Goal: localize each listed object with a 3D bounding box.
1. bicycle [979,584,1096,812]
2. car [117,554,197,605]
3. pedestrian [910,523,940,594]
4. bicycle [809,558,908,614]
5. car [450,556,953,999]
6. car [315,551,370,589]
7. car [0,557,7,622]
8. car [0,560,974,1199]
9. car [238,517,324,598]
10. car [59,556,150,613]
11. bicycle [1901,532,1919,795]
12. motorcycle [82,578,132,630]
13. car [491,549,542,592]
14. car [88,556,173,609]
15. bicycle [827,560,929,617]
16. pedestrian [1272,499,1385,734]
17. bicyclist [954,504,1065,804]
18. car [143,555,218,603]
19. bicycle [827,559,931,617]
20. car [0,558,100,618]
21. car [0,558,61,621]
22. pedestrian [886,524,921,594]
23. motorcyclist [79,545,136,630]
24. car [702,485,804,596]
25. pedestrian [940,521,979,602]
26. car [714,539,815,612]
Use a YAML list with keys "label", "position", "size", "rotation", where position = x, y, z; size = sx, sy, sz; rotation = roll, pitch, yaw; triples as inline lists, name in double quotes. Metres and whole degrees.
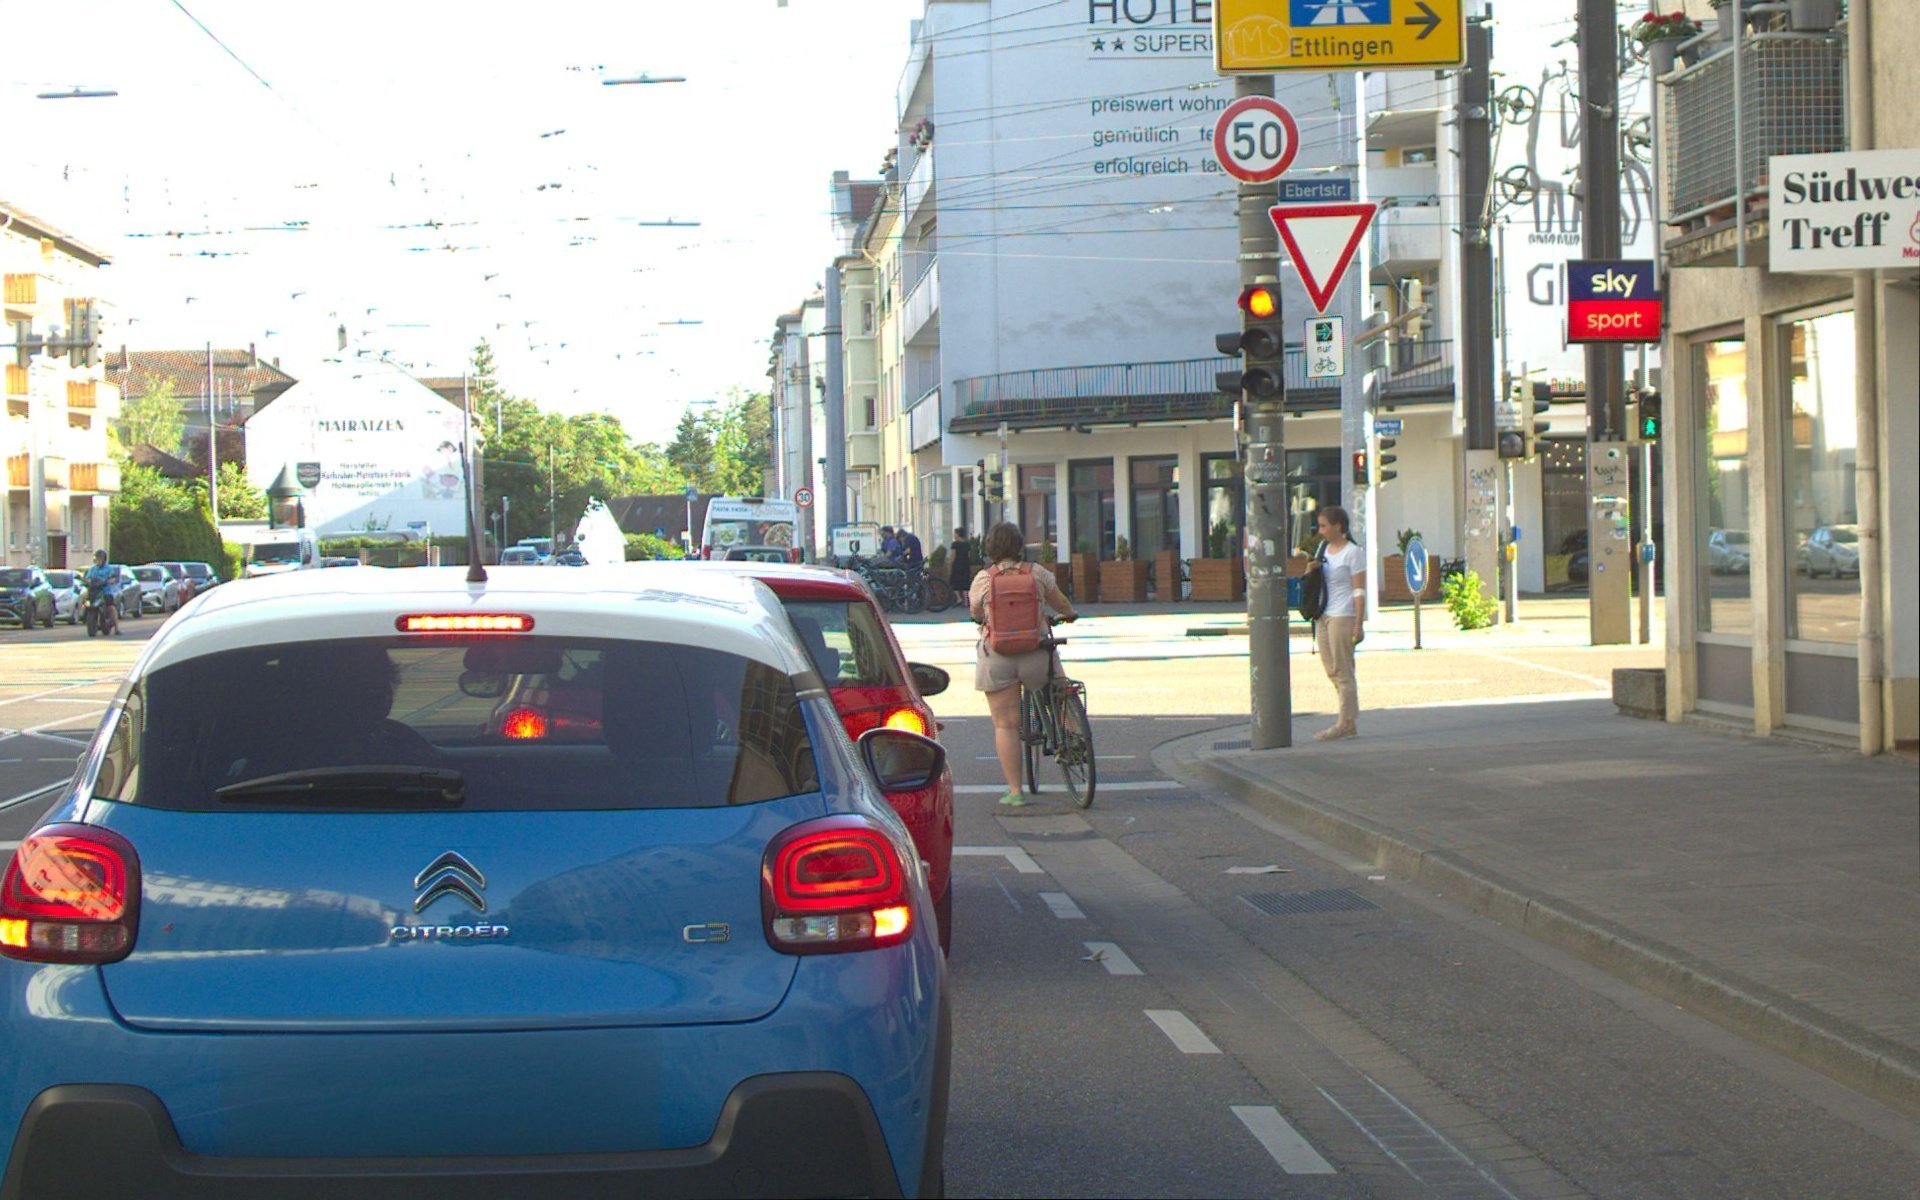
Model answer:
- label: "bicycle"
  position: [0.448, 0.559, 20.646]
  size: [0.613, 1.260, 1.911]
  rotation: [-1, 1, -1]
- label: "car"
  position: [-25.351, -0.672, 108.663]
  size: [1.950, 1.514, 4.001]
  rotation: [-1, 1, -6]
- label: "pedestrian"
  position: [-0.716, -0.846, 70.010]
  size: [0.467, 1.415, 0.527]
  rotation: [-1, 1, -13]
- label: "bicycle"
  position: [-2.022, -0.273, 68.317]
  size: [1.904, 1.061, 0.642]
  rotation: [-1, 1, -7]
- label: "car"
  position: [-1.007, 0.576, 13.588]
  size: [1.680, 1.457, 4.001]
  rotation: [0, 1, -4]
- label: "car"
  position: [-25.965, -1.278, 144.575]
  size: [1.950, 1.514, 4.001]
  rotation: [-1, 1, -6]
- label: "car"
  position: [-23.315, -0.195, 79.231]
  size: [1.950, 1.514, 4.001]
  rotation: [-1, 1, -6]
- label: "car"
  position: [-0.960, 0.667, 7.379]
  size: [1.680, 1.457, 4.001]
  rotation: [0, 1, -4]
- label: "car"
  position: [-23.653, -1.503, 119.941]
  size: [2.493, 2.703, 5.839]
  rotation: [-1, 1, -7]
- label: "car"
  position: [-24.452, -0.458, 98.380]
  size: [1.950, 1.514, 4.001]
  rotation: [-1, 1, -6]
- label: "bicycle"
  position: [4.913, 0.313, 15.756]
  size: [0.640, 1.260, 1.911]
  rotation: [-1, 1, -1]
- label: "motorcycle"
  position: [-16.690, 0.072, 67.292]
  size: [0.751, 0.973, 2.098]
  rotation: [-1, 1, -9]
- label: "car"
  position: [-22.031, -1.497, 170.847]
  size: [2.338, 2.032, 5.051]
  rotation: [-1, 1, -6]
- label: "car"
  position: [-24.918, -0.542, 103.384]
  size: [1.950, 1.514, 4.001]
  rotation: [-1, 1, -6]
- label: "bicycle"
  position: [-1.603, -0.235, 67.124]
  size: [1.904, 1.061, 0.642]
  rotation: [-1, 1, -7]
- label: "pedestrian"
  position: [2.608, 0.107, 24.379]
  size: [0.751, 1.629, 0.740]
  rotation: [-1, 1, 6]
- label: "bicyclist"
  position: [0.290, 0.303, 20.603]
  size: [0.600, 1.740, 1.084]
  rotation: [-1, 1, -1]
- label: "car"
  position: [-26.060, -0.721, 115.005]
  size: [1.950, 1.514, 4.001]
  rotation: [-1, 1, -6]
- label: "bicycle"
  position: [-1.554, -0.241, 65.818]
  size: [1.904, 1.061, 0.642]
  rotation: [-1, 1, -7]
- label: "car"
  position: [-24.300, -0.337, 91.953]
  size: [1.950, 1.514, 4.001]
  rotation: [-1, 1, -6]
- label: "car"
  position: [-23.780, -0.269, 85.895]
  size: [1.950, 1.514, 4.001]
  rotation: [-1, 1, -6]
- label: "pedestrian"
  position: [-1.149, -0.844, 70.262]
  size: [0.525, 1.415, 0.546]
  rotation: [-1, 1, 20]
- label: "motorcyclist"
  position: [-16.670, -0.253, 67.218]
  size: [0.991, 1.625, 0.739]
  rotation: [-1, 1, -9]
- label: "car"
  position: [-4.427, -1.276, 73.245]
  size: [2.079, 2.262, 5.652]
  rotation: [0, 1, -4]
- label: "pedestrian"
  position: [-0.002, -0.793, 70.280]
  size: [0.553, 1.642, 0.538]
  rotation: [-2, 1, -38]
- label: "car"
  position: [-3.878, -0.514, 67.809]
  size: [1.786, 1.354, 3.915]
  rotation: [-1, 1, -6]
